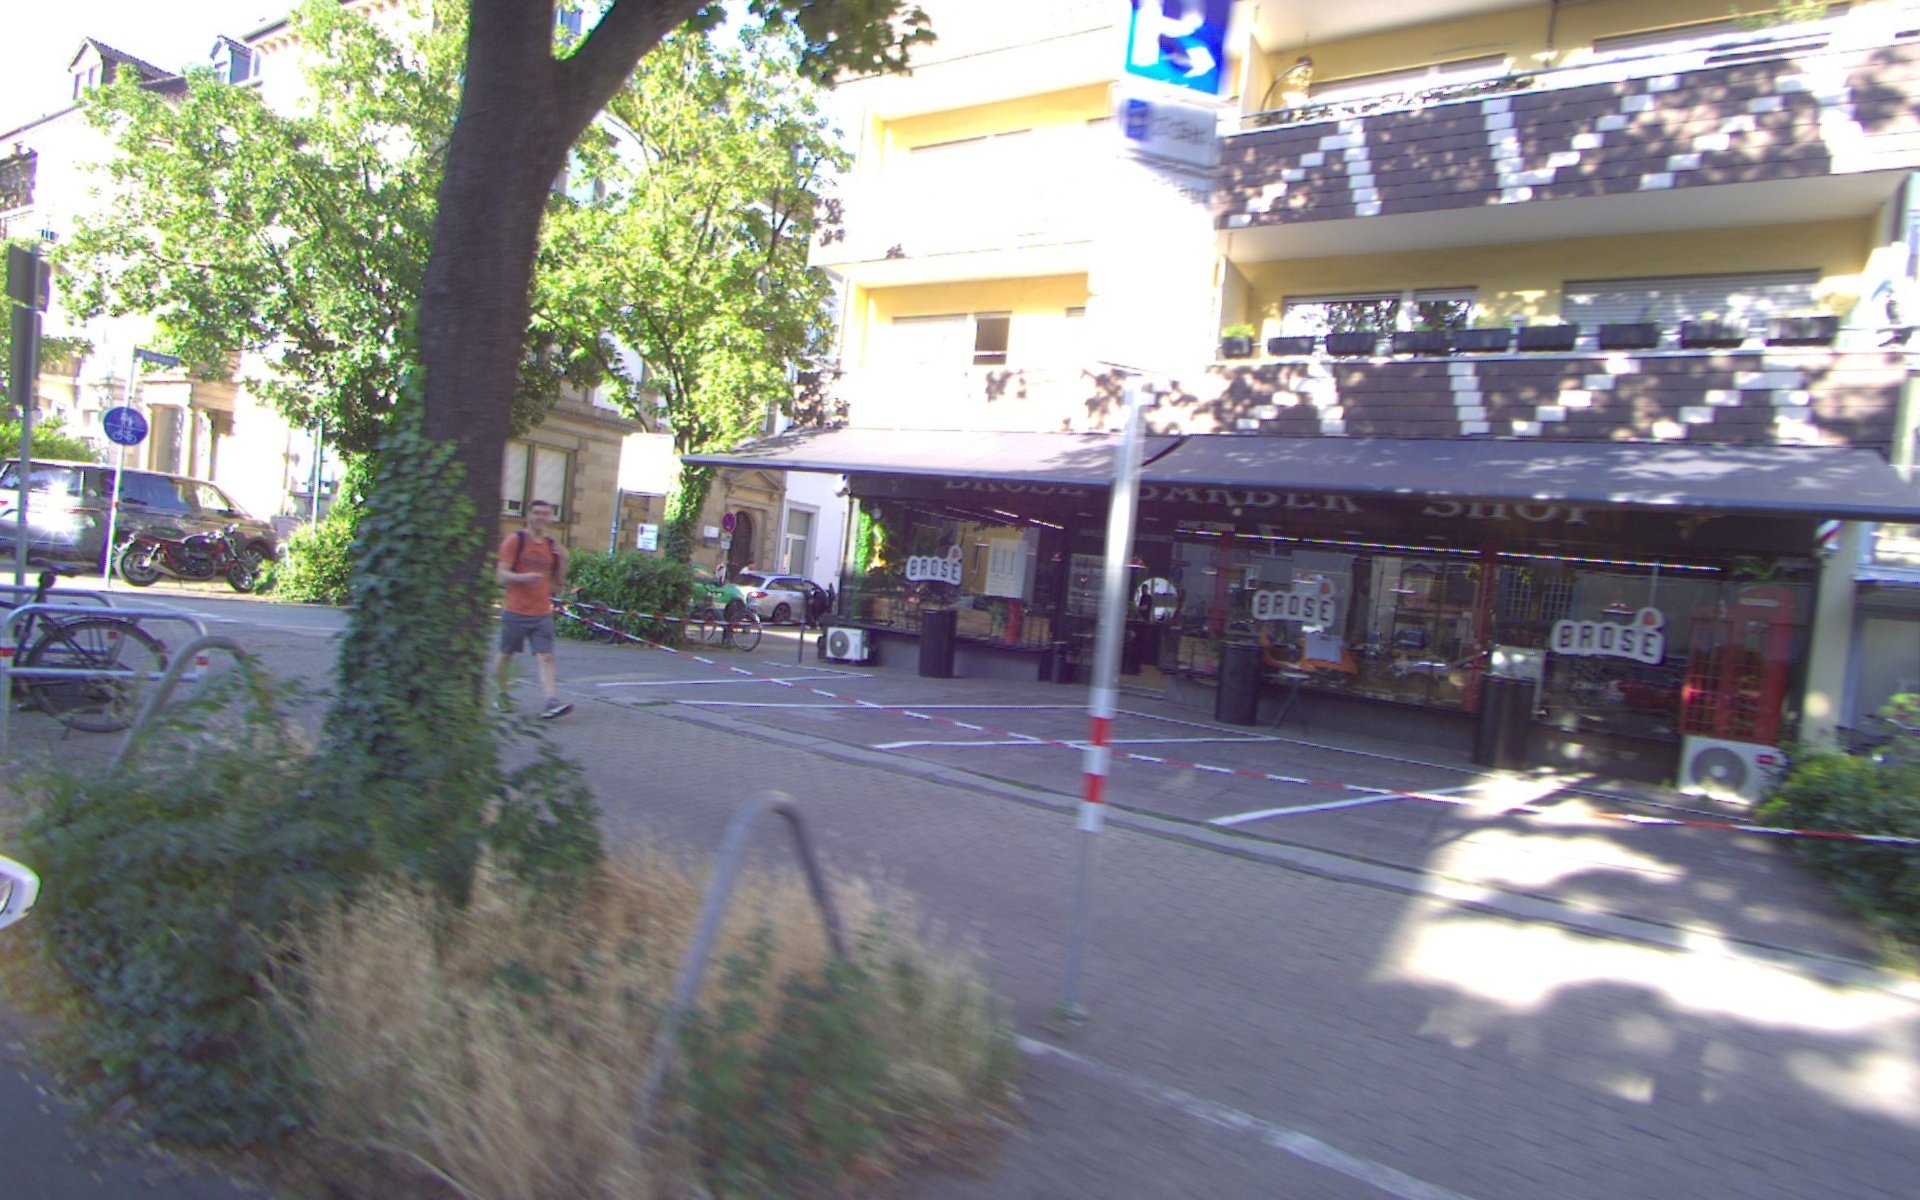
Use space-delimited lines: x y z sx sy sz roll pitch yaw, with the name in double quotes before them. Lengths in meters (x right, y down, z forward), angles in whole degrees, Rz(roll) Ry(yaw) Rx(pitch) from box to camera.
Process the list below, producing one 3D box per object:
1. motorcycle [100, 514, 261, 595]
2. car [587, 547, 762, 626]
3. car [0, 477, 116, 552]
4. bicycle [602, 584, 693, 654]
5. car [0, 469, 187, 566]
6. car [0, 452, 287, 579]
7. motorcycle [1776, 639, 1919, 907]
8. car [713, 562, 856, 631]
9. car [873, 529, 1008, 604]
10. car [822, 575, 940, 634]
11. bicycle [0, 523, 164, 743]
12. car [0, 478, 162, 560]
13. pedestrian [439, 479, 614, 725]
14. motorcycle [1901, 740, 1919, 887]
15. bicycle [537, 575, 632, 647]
"motorcycle" -13.026 -0.730 16.891 0.516 1.139 2.055 7 1 26
"car" -7.193 -0.298 25.685 1.897 1.605 3.920 7 1 32
"car" -22.345 -2.078 23.563 1.483 1.545 3.812 7 1 10
"bicycle" -5.067 0.290 16.278 1.554 0.963 0.342 7 4 26
"car" -18.467 -1.689 21.002 1.483 1.700 3.811 7 1 2
"car" -15.589 -1.500 19.335 1.878 1.917 4.547 6 1 4
"motorcycle" 6.644 1.178 7.426 0.720 1.642 2.192 8 2 37
"car" -5.084 -0.068 29.561 1.897 1.605 3.920 7 1 32
"car" -0.410 -0.796 24.751 1.633 1.436 3.348 7 1 32
"car" -2.598 0.174 34.052 1.897 1.605 3.920 7 1 32
"bicycle" -5.782 0.174 5.898 0.627 1.243 1.664 8 4 44
"car" -20.473 -1.844 22.650 1.483 1.545 3.812 7 1 10
"pedestrian" -3.502 0.011 8.146 0.890 1.820 0.757 7 2 26
"motorcycle" 7.633 1.393 7.228 0.876 1.642 2.192 8 2 37
"bicycle" -5.951 0.170 15.916 1.554 0.961 0.343 6 -1 26
